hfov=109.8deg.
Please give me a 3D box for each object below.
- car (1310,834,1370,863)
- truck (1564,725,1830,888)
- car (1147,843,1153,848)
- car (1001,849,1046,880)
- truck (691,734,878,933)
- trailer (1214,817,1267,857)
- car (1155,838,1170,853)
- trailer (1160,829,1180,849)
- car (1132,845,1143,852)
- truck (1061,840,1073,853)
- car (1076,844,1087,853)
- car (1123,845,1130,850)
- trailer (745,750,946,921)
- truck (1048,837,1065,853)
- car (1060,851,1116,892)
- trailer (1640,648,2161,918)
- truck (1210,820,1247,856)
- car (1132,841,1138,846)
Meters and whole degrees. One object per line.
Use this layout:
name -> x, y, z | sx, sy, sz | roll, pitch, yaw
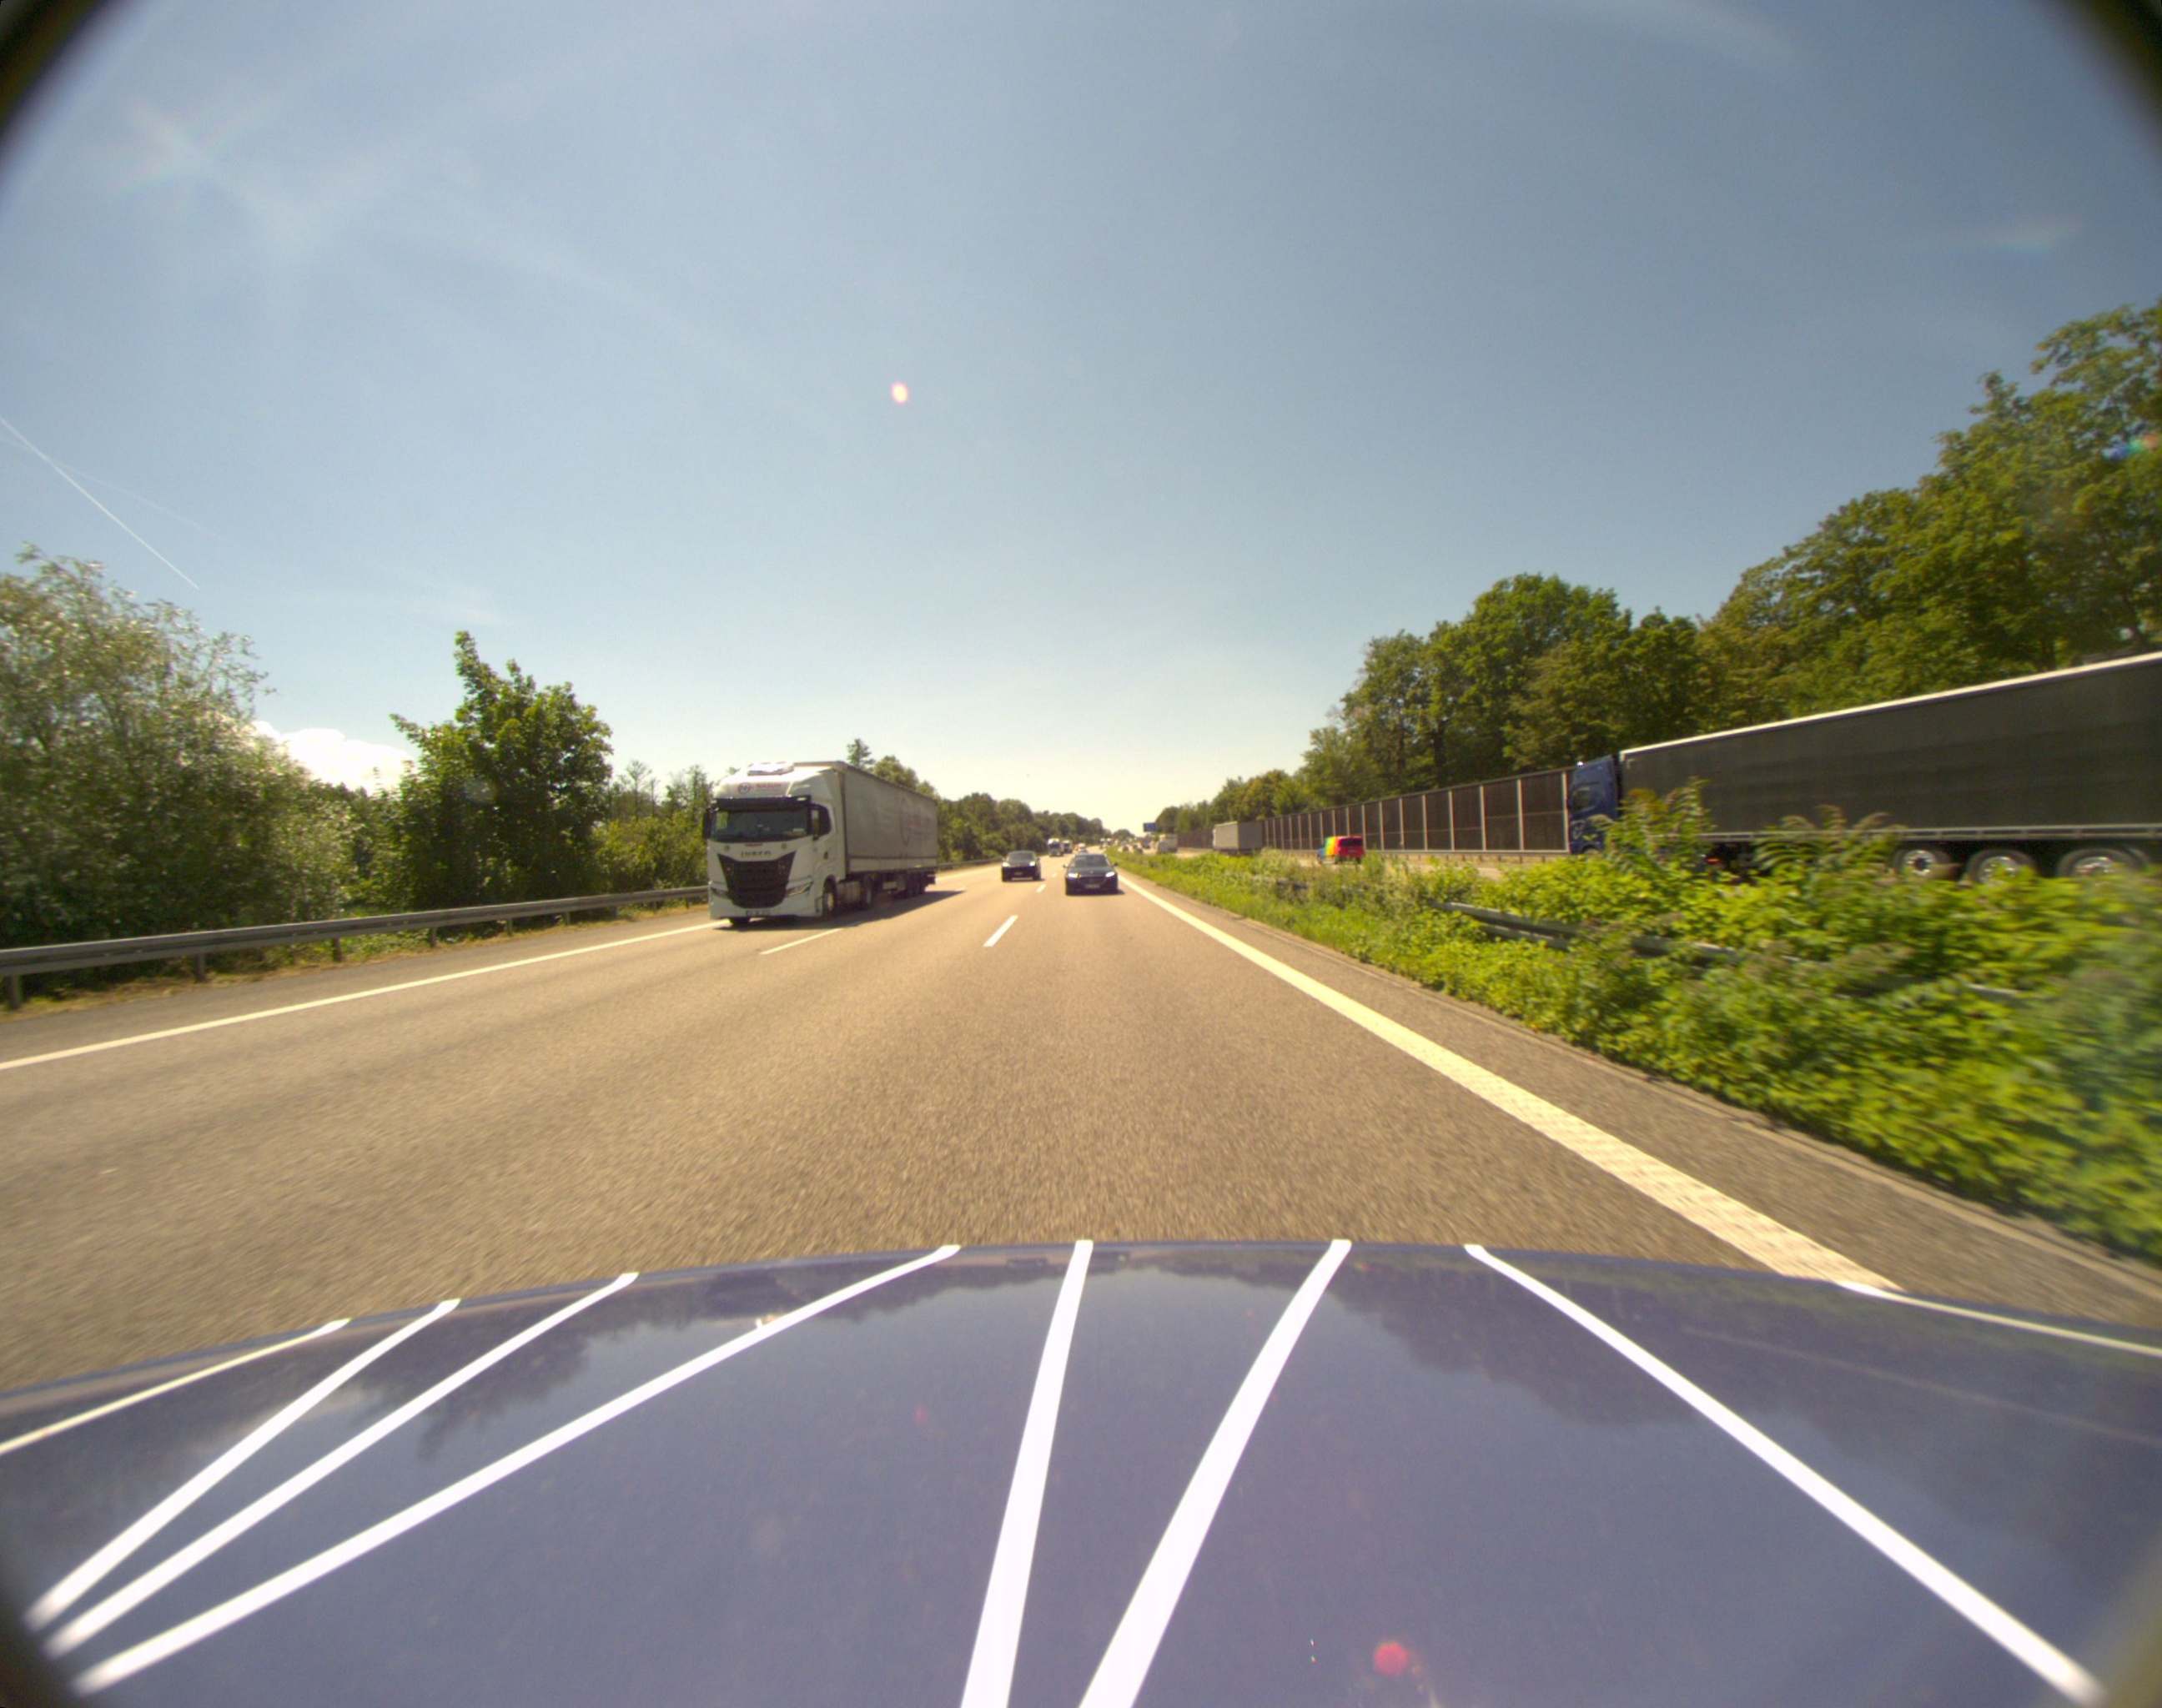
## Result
car -> 17.924, -0.398, 52.948 | 1.999, 1.869, 5.958 | -2, 1, -1
truck -> 17.778, -1.258, 22.587 | 2.906, 4.069, 6.116 | -2, 1, 0
car -> 23.311, -2.788, 256.101 | 1.803, 1.439, 4.000 | -2, 1, 3
car -> -3.213, 0.546, 43.589 | 2.049, 1.616, 5.771 | -2, 0, 0
truck -> -7.493, -0.485, 20.086 | 2.542, 4.446, 5.571 | -2, 1, 0
trailer -> 17.893, -1.839, 86.283 | 2.970, 4.006, 13.805 | -2, 1, 0
car -> 14.639, -1.544, 137.074 | 2.137, 2.494, 5.705 | -1, 1, 0
trailer -> 19.370, -3.173, 165.781 | 3.100, 4.006, 13.006 | -2, 1, 2
car -> 10.927, -1.070, 148.015 | 1.804, 1.439, 3.999 | -2, 1, 0
truck -> -4.021, -2.280, 223.480 | 3.074, 3.617, 12.400 | -2, 1, 1
car -> 0.120, -1.026, 147.803 | 1.909, 1.717, 4.375 | -2, 1, 1
car -> 13.459, -1.989, 223.786 | 1.803, 1.439, 4.000 | -2, 1, 3
trailer -> -7.478, -0.553, 27.165 | 2.542, 4.446, 14.158 | -2, 1, 0
truck -> -5.537, -2.043, 173.367 | 3.074, 3.617, 12.400 | -2, 1, 1
car -> 0.202, 0.668, 32.256 | 1.949, 1.498, 5.819 | -2, 0, -3
trailer -> 17.761, -1.172, 15.468 | 2.906, 4.069, 13.330 | -2, 1, 0
truck -> 17.844, -1.910, 92.275 | 2.959, 4.006, 6.594 | -2, 1, 0
car -> 19.137, -3.730, 269.355 | 1.803, 1.439, 4.000 | -2, 1, 3
